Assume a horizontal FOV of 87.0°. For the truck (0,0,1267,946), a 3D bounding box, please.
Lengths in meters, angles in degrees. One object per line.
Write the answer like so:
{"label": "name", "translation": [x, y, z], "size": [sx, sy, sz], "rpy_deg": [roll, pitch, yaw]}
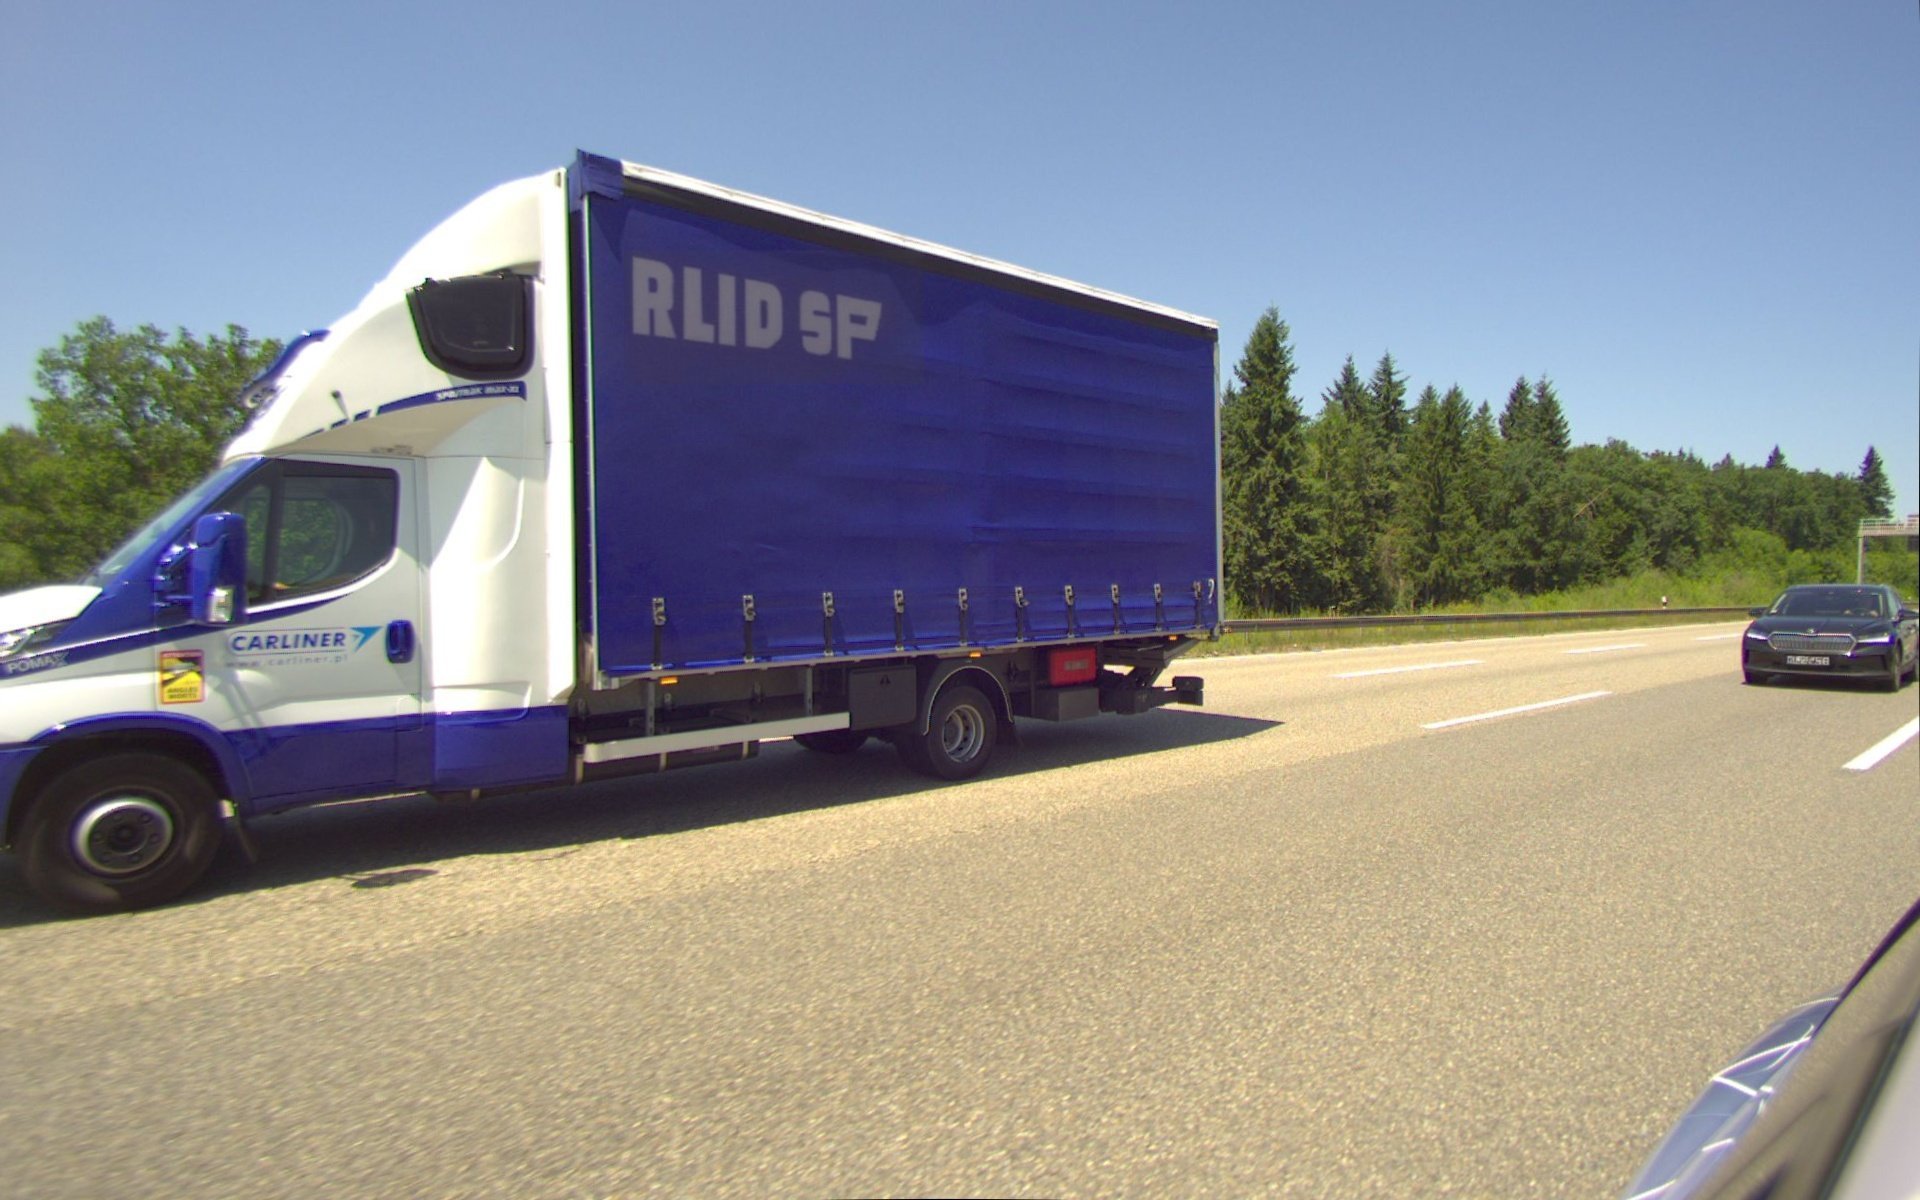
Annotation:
{"label": "truck", "translation": [-1.392, -0.847, 7.881], "size": [9.576, 4.180, 2.786], "rpy_deg": [-1, 0, -43]}

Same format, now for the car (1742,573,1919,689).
{"label": "car", "translation": [14.605, 0.406, 16.563], "size": [4.379, 1.639, 1.988], "rpy_deg": [-1, 0, -40]}
